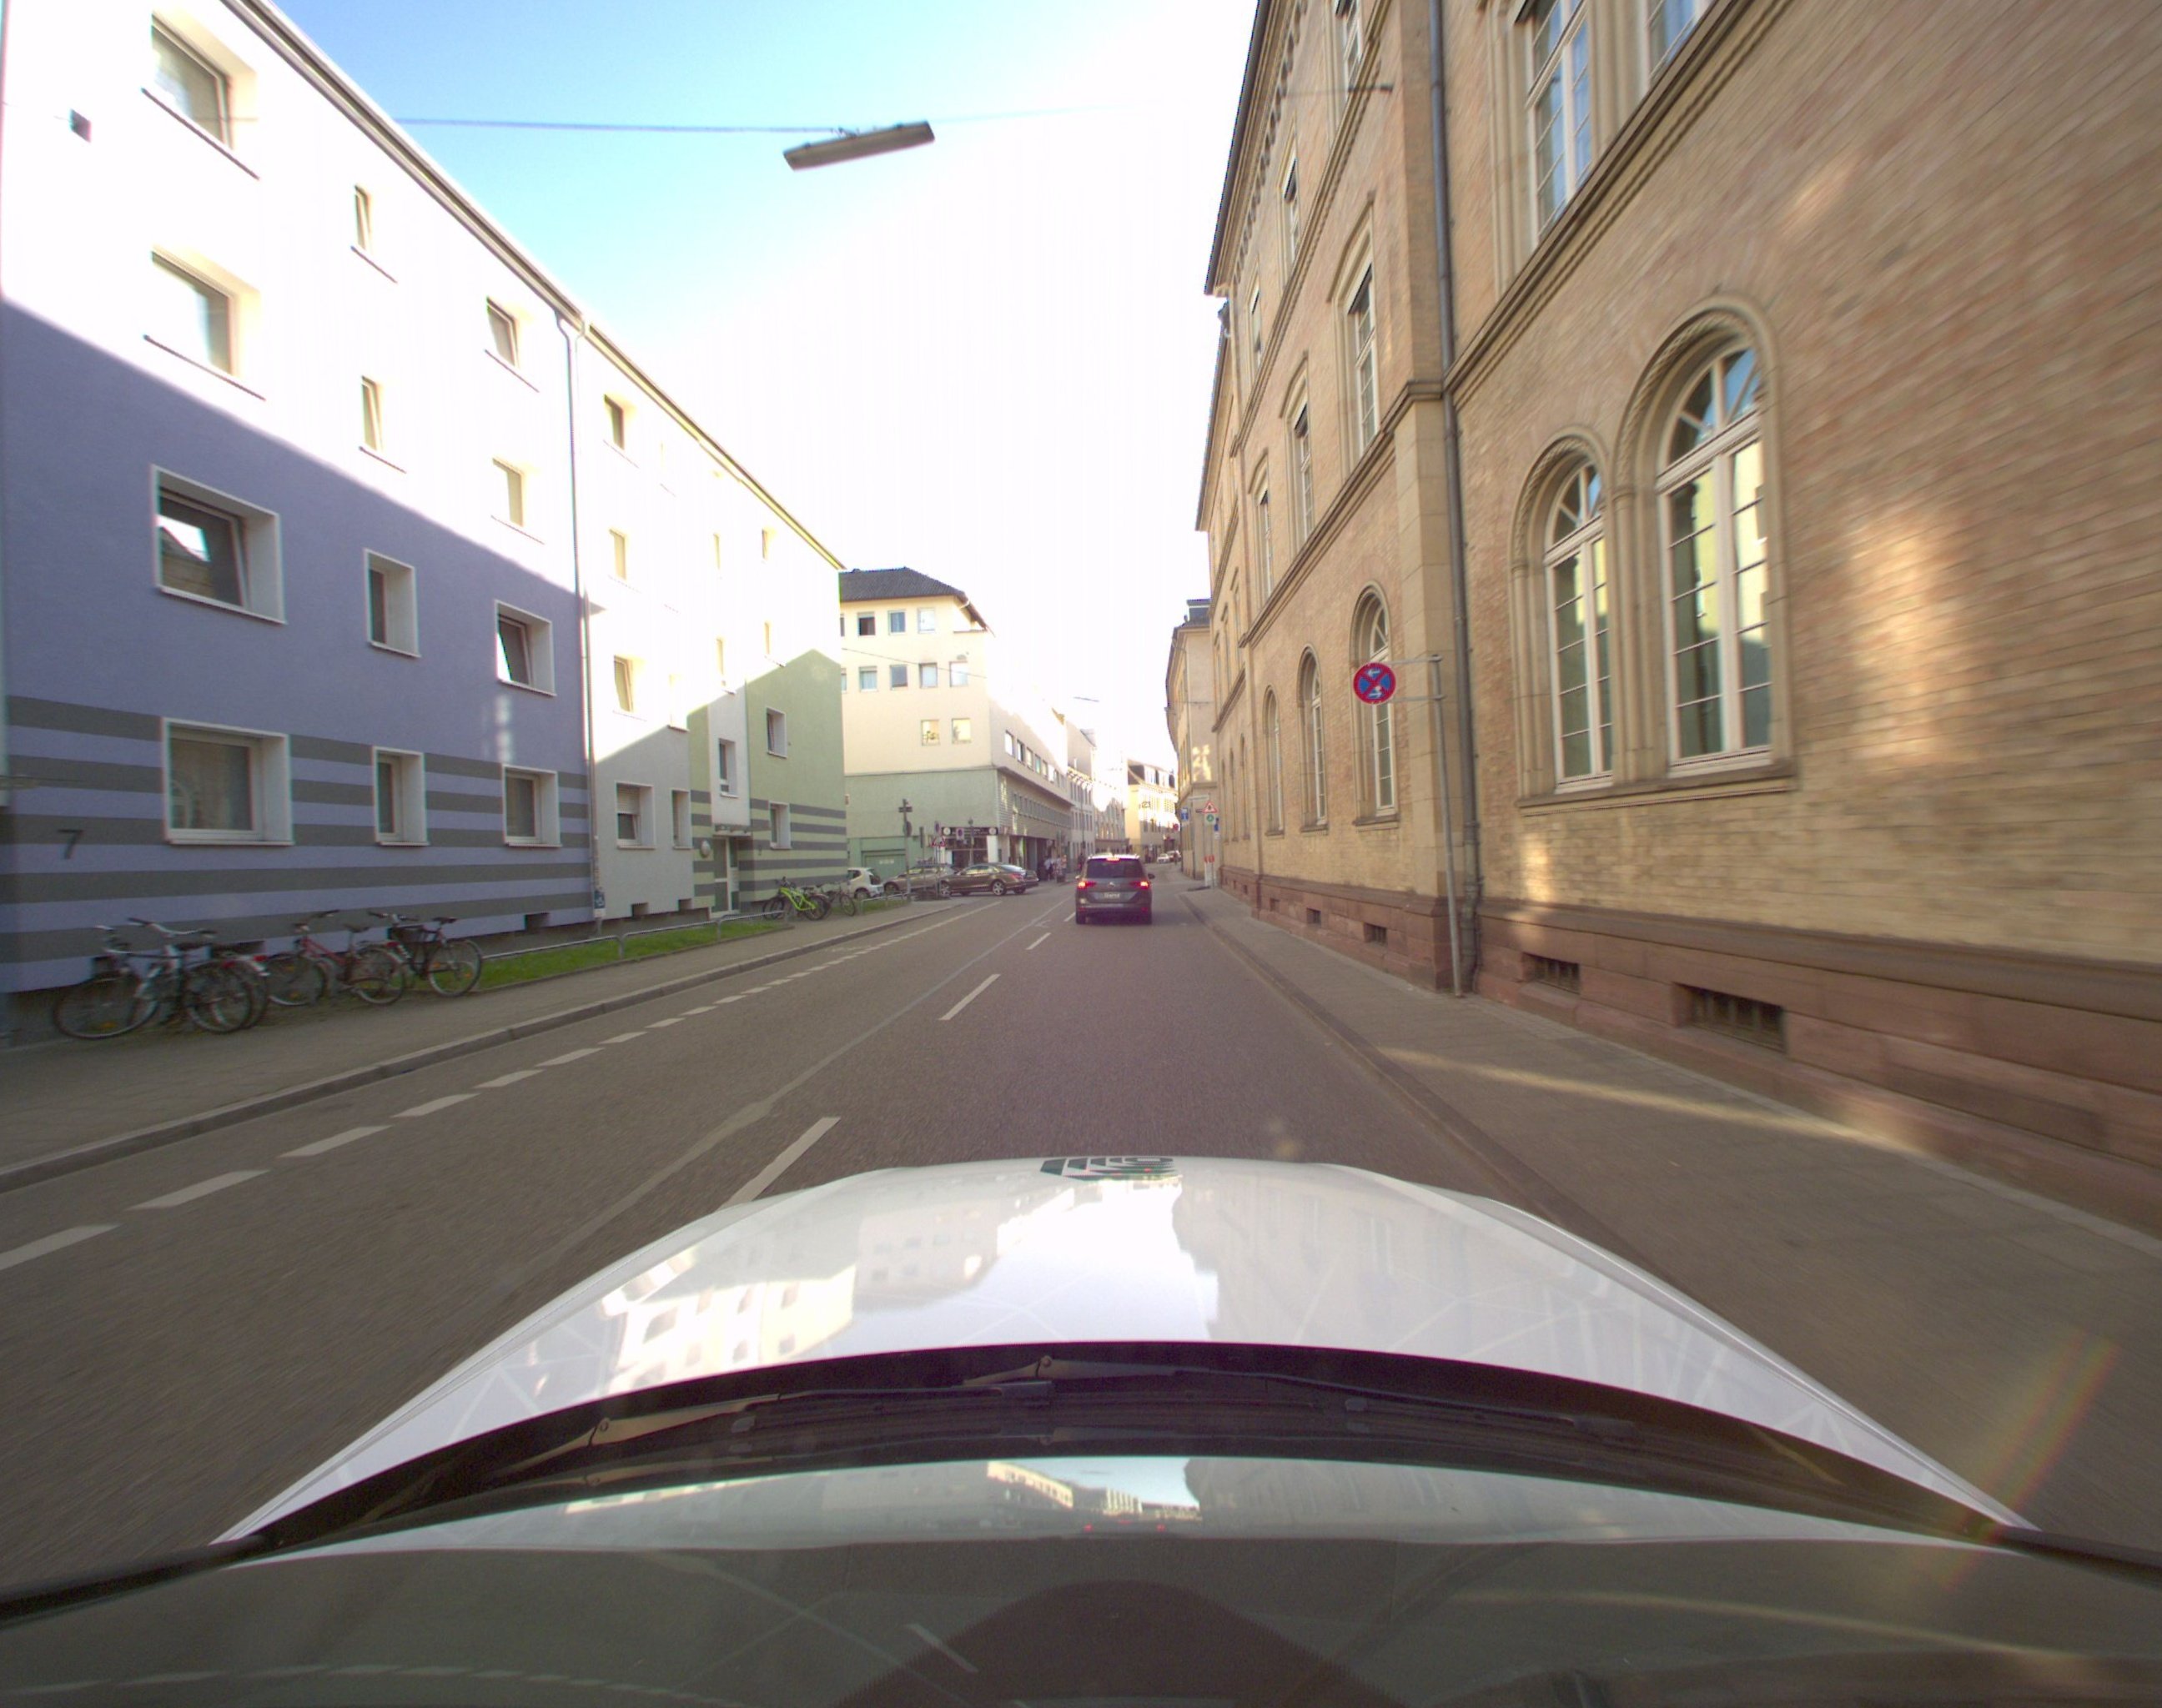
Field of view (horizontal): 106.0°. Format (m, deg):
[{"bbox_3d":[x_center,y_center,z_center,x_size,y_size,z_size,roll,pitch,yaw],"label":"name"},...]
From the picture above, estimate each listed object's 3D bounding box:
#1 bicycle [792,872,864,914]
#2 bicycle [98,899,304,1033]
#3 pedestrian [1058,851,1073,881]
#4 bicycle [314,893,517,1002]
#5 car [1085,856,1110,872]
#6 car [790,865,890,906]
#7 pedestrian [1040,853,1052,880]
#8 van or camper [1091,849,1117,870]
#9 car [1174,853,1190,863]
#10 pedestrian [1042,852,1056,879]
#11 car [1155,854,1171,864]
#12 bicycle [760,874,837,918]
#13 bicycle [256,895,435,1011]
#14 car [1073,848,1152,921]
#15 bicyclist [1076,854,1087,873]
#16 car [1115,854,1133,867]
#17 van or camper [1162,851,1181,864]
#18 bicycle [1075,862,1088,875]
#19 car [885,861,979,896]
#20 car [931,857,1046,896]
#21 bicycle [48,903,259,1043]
[{"bbox_3d":[-7.424,1.143,23.954,1.926,1.179,0.612,0,-1,-6],"label":"bicycle"},{"bbox_3d":[-8.937,1.120,8.297,1.579,1.241,0.449,-2,0,0],"label":"bicycle"},{"bbox_3d":[-0.980,0.732,51.196,0.550,1.829,0.735,-2,0,27],"label":"pedestrian"},{"bbox_3d":[-8.339,1.159,10.250,2.001,1.231,0.623,-2,0,0],"label":"bicycle"},{"bbox_3d":[1.604,0.942,77.639,1.855,1.468,3.843,-2,0,8],"label":"car"},{"bbox_3d":[-10.082,1.308,34.225,3.484,1.443,1.816,-3,0,5],"label":"car"},{"bbox_3d":[-2.452,0.892,57.442,0.725,1.829,0.558,-2,0,3],"label":"pedestrian"},{"bbox_3d":[2.414,0.575,83.346,1.981,2.013,4.495,-2,0,9],"label":"van or camper"},{"bbox_3d":[17.509,0.704,141.140,1.810,1.726,4.021,-2,0,20],"label":"car"},{"bbox_3d":[-2.163,0.768,54.802,0.550,1.829,0.735,-2,0,27],"label":"pedestrian"},{"bbox_3d":[13.085,0.798,129.323,1.720,1.468,4.018,-2,0,18],"label":"car"},{"bbox_3d":[-7.785,1.152,22.498,1.930,1.179,0.611,1,-1,-13],"label":"bicycle"},{"bbox_3d":[-8.592,1.141,9.540,1.633,1.241,0.467,-2,0,0],"label":"bicycle"},{"bbox_3d":[0.820,0.684,20.112,1.754,1.607,4.004,0,0,3],"label":"car"},{"bbox_3d":[0.034,0.829,68.907,0.827,1.561,0.760,-2,0,4],"label":"bicyclist"},{"bbox_3d":[5.253,0.785,99.415,1.855,1.468,3.843,-2,0,8],"label":"car"},{"bbox_3d":[14.972,0.591,134.971,1.977,2.013,5.023,-2,0,19],"label":"van or camper"},{"bbox_3d":[0.045,1.202,68.854,0.827,1.054,2.552,-2,0,5],"label":"bicycle"},{"bbox_3d":[-7.288,1.196,39.964,4.079,1.443,1.950,-3,0,5],"label":"car"},{"bbox_3d":[-4.074,0.985,35.796,4.571,1.541,2.012,-2,0,26],"label":"car"},{"bbox_3d":[-8.949,1.137,7.880,1.574,1.241,0.384,-2,0,0],"label":"bicycle"}]
